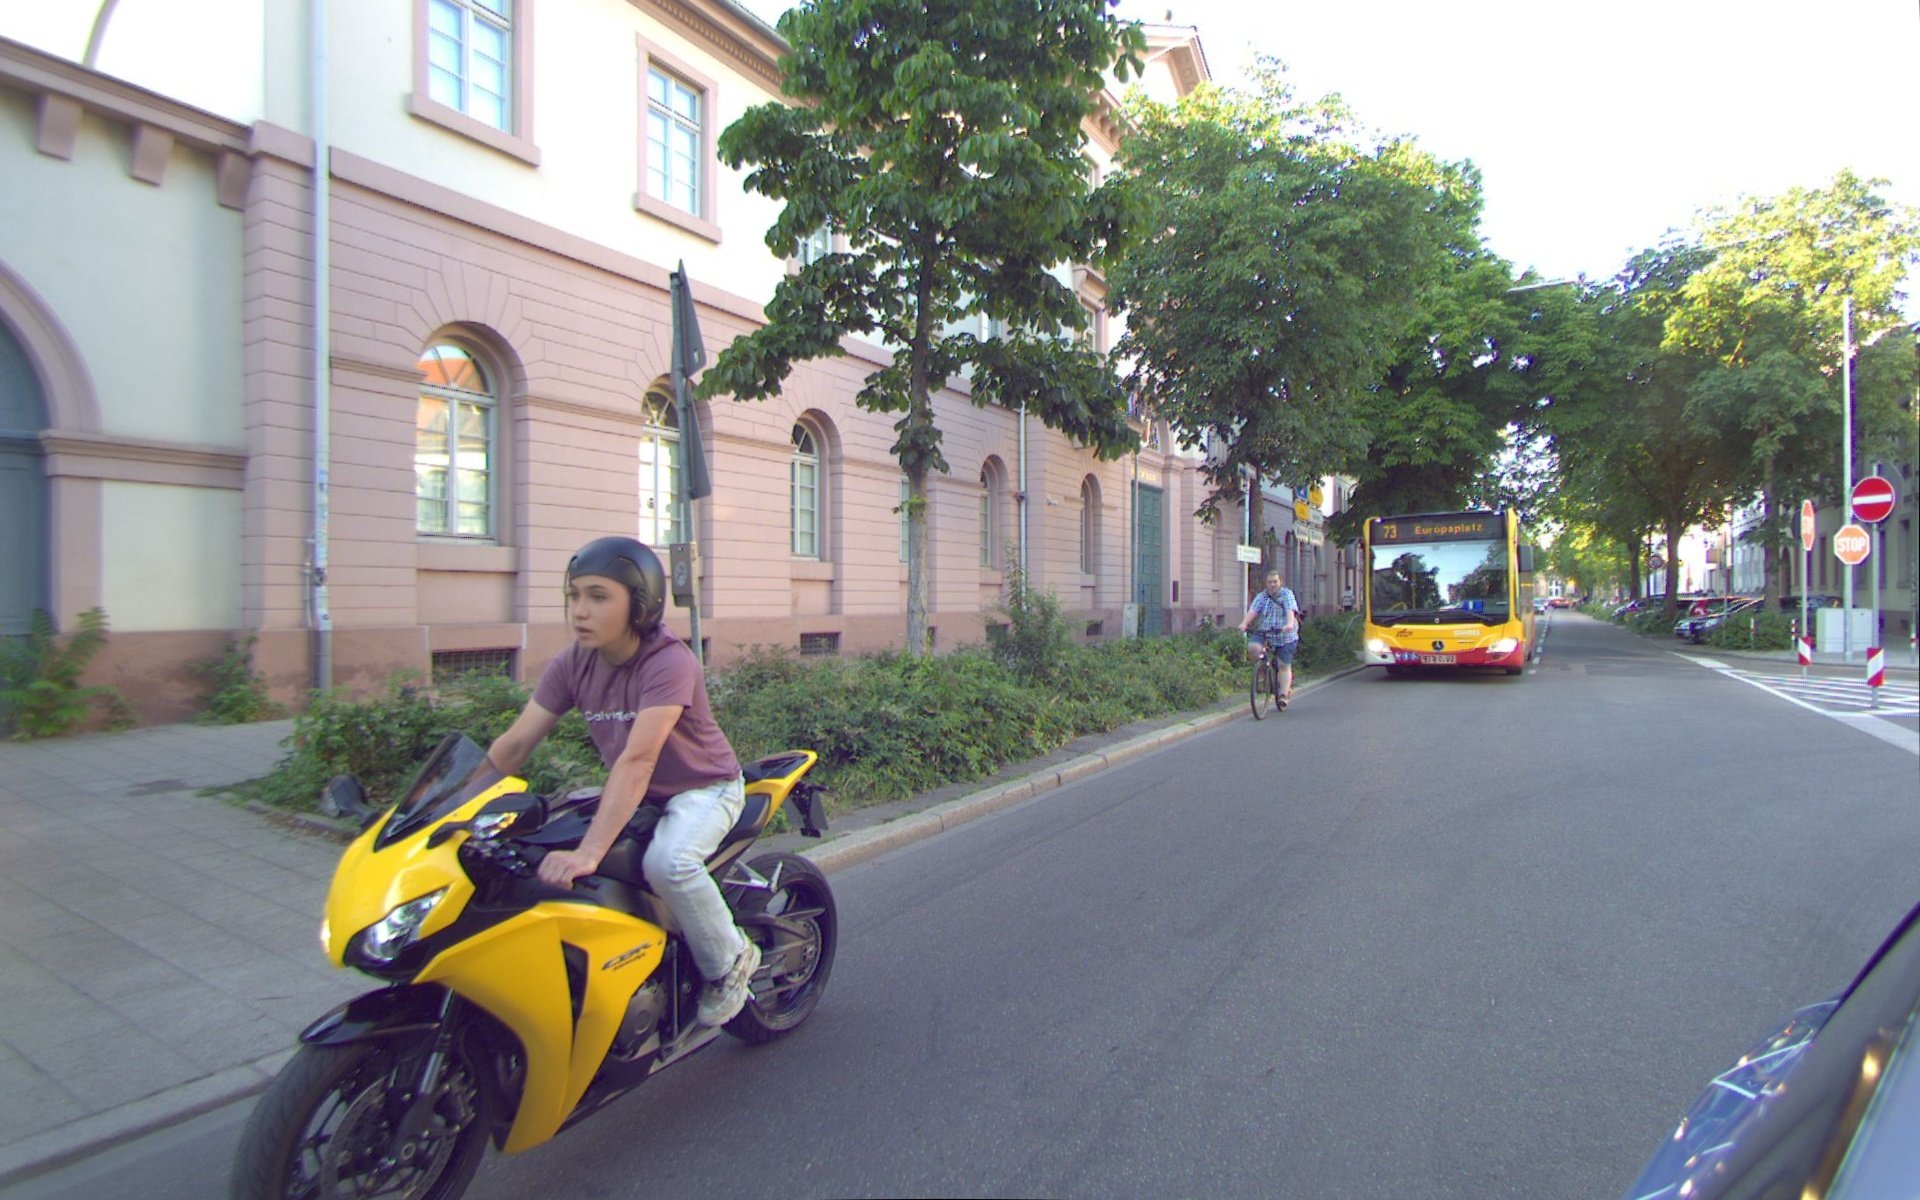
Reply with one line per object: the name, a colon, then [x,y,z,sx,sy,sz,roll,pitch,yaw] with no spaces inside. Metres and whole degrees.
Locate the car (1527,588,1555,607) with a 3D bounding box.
car: [52.888,-0.261,92.146,2.067,1.719,3.954,0,0,32]

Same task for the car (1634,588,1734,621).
car: [36.740,0.203,51.495,3.966,1.635,1.705,0,0,30]

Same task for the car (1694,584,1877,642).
car: [24.472,0.342,30.193,3.966,1.635,1.809,0,0,30]

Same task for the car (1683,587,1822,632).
car: [30.396,0.336,38.966,3.966,1.635,1.705,0,0,30]

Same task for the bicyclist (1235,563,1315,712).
bicyclist: [4.105,0.476,13.171,0.777,1.863,0.817,-2,-1,31]

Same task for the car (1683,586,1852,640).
car: [25.603,0.382,32.284,3.966,1.635,1.705,0,0,30]

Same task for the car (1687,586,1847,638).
car: [27.112,0.374,34.174,3.966,1.635,1.705,0,0,30]

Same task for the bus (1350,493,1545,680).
bus: [11.139,-0.217,22.262,2.691,3.039,11.948,-2,-1,31]

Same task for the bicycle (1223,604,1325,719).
bicycle: [4.126,0.753,13.184,0.777,1.347,2.055,-2,-1,31]

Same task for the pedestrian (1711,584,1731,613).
pedestrian: [47.544,-0.076,63.207,0.887,1.793,1.010,0,0,30]

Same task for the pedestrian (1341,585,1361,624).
pedestrian: [18.695,0.219,48.364,0.794,1.855,0.920,0,0,29]

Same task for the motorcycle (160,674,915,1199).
motorcycle: [-0.965,0.874,2.904,0.786,1.175,1.948,-2,-1,28]

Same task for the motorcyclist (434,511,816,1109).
motorcyclist: [-0.953,0.509,2.937,0.786,1.438,0.692,-2,-1,28]
